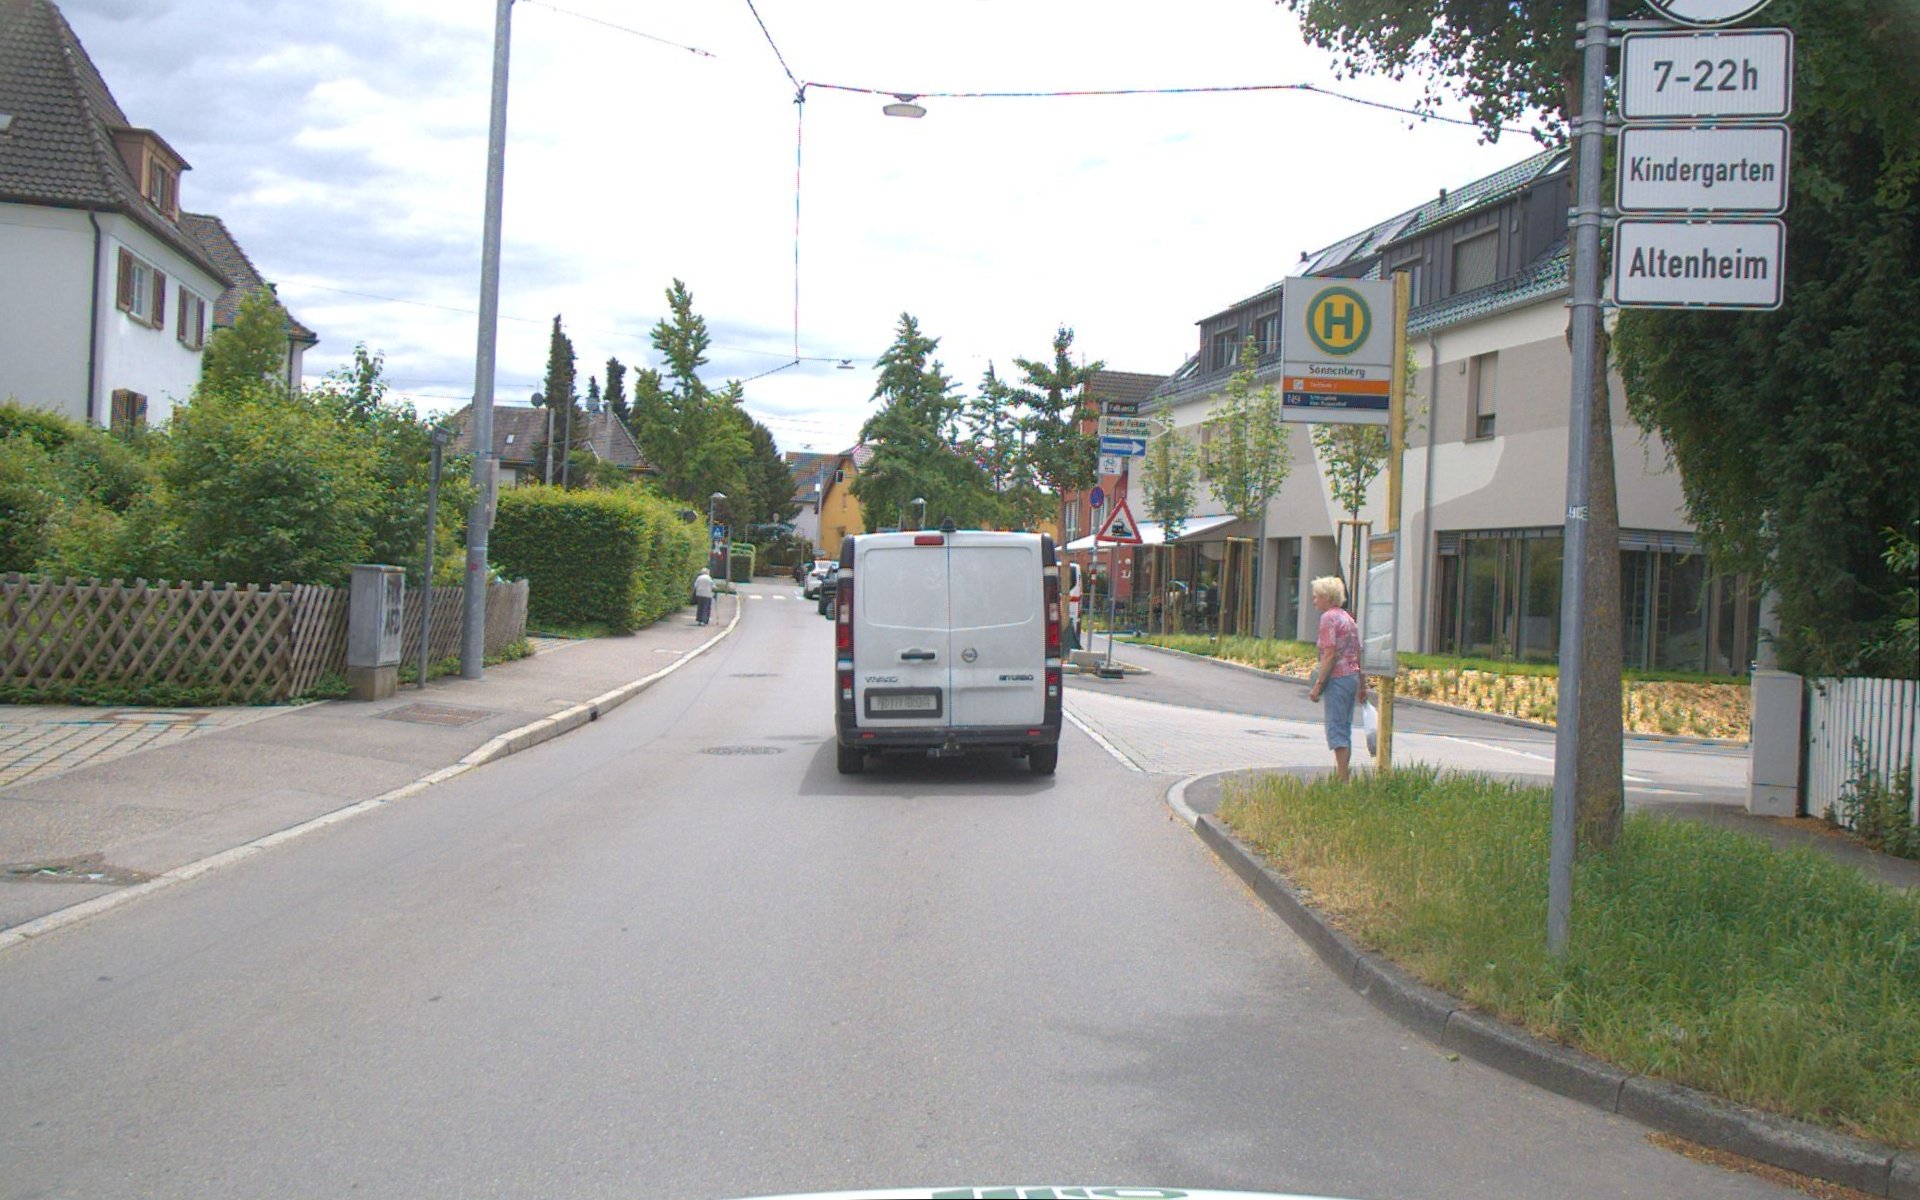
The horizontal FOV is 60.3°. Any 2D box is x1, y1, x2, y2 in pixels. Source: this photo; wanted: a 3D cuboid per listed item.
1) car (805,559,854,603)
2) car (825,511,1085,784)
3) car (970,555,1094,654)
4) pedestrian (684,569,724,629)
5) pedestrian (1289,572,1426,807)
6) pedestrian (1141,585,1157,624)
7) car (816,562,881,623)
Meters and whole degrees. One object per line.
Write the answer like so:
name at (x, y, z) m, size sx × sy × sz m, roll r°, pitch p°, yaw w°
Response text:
car at (-5.654, -0.817, 71.269) m, size 1.955 × 1.813 × 3.995 m, roll 1°, pitch 0°, yaw -6°
car at (-0.207, 0.372, 14.845) m, size 1.879 × 2.037 × 4.432 m, roll 2°, pitch 0°, yaw -6°
car at (1.533, 0.072, 37.343) m, size 1.921 × 1.949 × 4.894 m, roll 4°, pitch 0°, yaw -7°
pedestrian at (-6.742, -0.029, 43.563) m, size 0.865 × 1.511 × 0.452 m, roll 5°, pitch 0°, yaw -26°
pedestrian at (3.028, 0.663, 12.681) m, size 0.862 × 1.673 × 0.857 m, roll 4°, pitch 0°, yaw 11°
pedestrian at (5.993, 0.149, 52.438) m, size 0.413 × 1.202 × 0.323 m, roll 2°, pitch 0°, yaw -8°
car at (-3.733, -0.256, 54.789) m, size 1.955 × 1.880 × 3.995 m, roll 2°, pitch 0°, yaw -6°
